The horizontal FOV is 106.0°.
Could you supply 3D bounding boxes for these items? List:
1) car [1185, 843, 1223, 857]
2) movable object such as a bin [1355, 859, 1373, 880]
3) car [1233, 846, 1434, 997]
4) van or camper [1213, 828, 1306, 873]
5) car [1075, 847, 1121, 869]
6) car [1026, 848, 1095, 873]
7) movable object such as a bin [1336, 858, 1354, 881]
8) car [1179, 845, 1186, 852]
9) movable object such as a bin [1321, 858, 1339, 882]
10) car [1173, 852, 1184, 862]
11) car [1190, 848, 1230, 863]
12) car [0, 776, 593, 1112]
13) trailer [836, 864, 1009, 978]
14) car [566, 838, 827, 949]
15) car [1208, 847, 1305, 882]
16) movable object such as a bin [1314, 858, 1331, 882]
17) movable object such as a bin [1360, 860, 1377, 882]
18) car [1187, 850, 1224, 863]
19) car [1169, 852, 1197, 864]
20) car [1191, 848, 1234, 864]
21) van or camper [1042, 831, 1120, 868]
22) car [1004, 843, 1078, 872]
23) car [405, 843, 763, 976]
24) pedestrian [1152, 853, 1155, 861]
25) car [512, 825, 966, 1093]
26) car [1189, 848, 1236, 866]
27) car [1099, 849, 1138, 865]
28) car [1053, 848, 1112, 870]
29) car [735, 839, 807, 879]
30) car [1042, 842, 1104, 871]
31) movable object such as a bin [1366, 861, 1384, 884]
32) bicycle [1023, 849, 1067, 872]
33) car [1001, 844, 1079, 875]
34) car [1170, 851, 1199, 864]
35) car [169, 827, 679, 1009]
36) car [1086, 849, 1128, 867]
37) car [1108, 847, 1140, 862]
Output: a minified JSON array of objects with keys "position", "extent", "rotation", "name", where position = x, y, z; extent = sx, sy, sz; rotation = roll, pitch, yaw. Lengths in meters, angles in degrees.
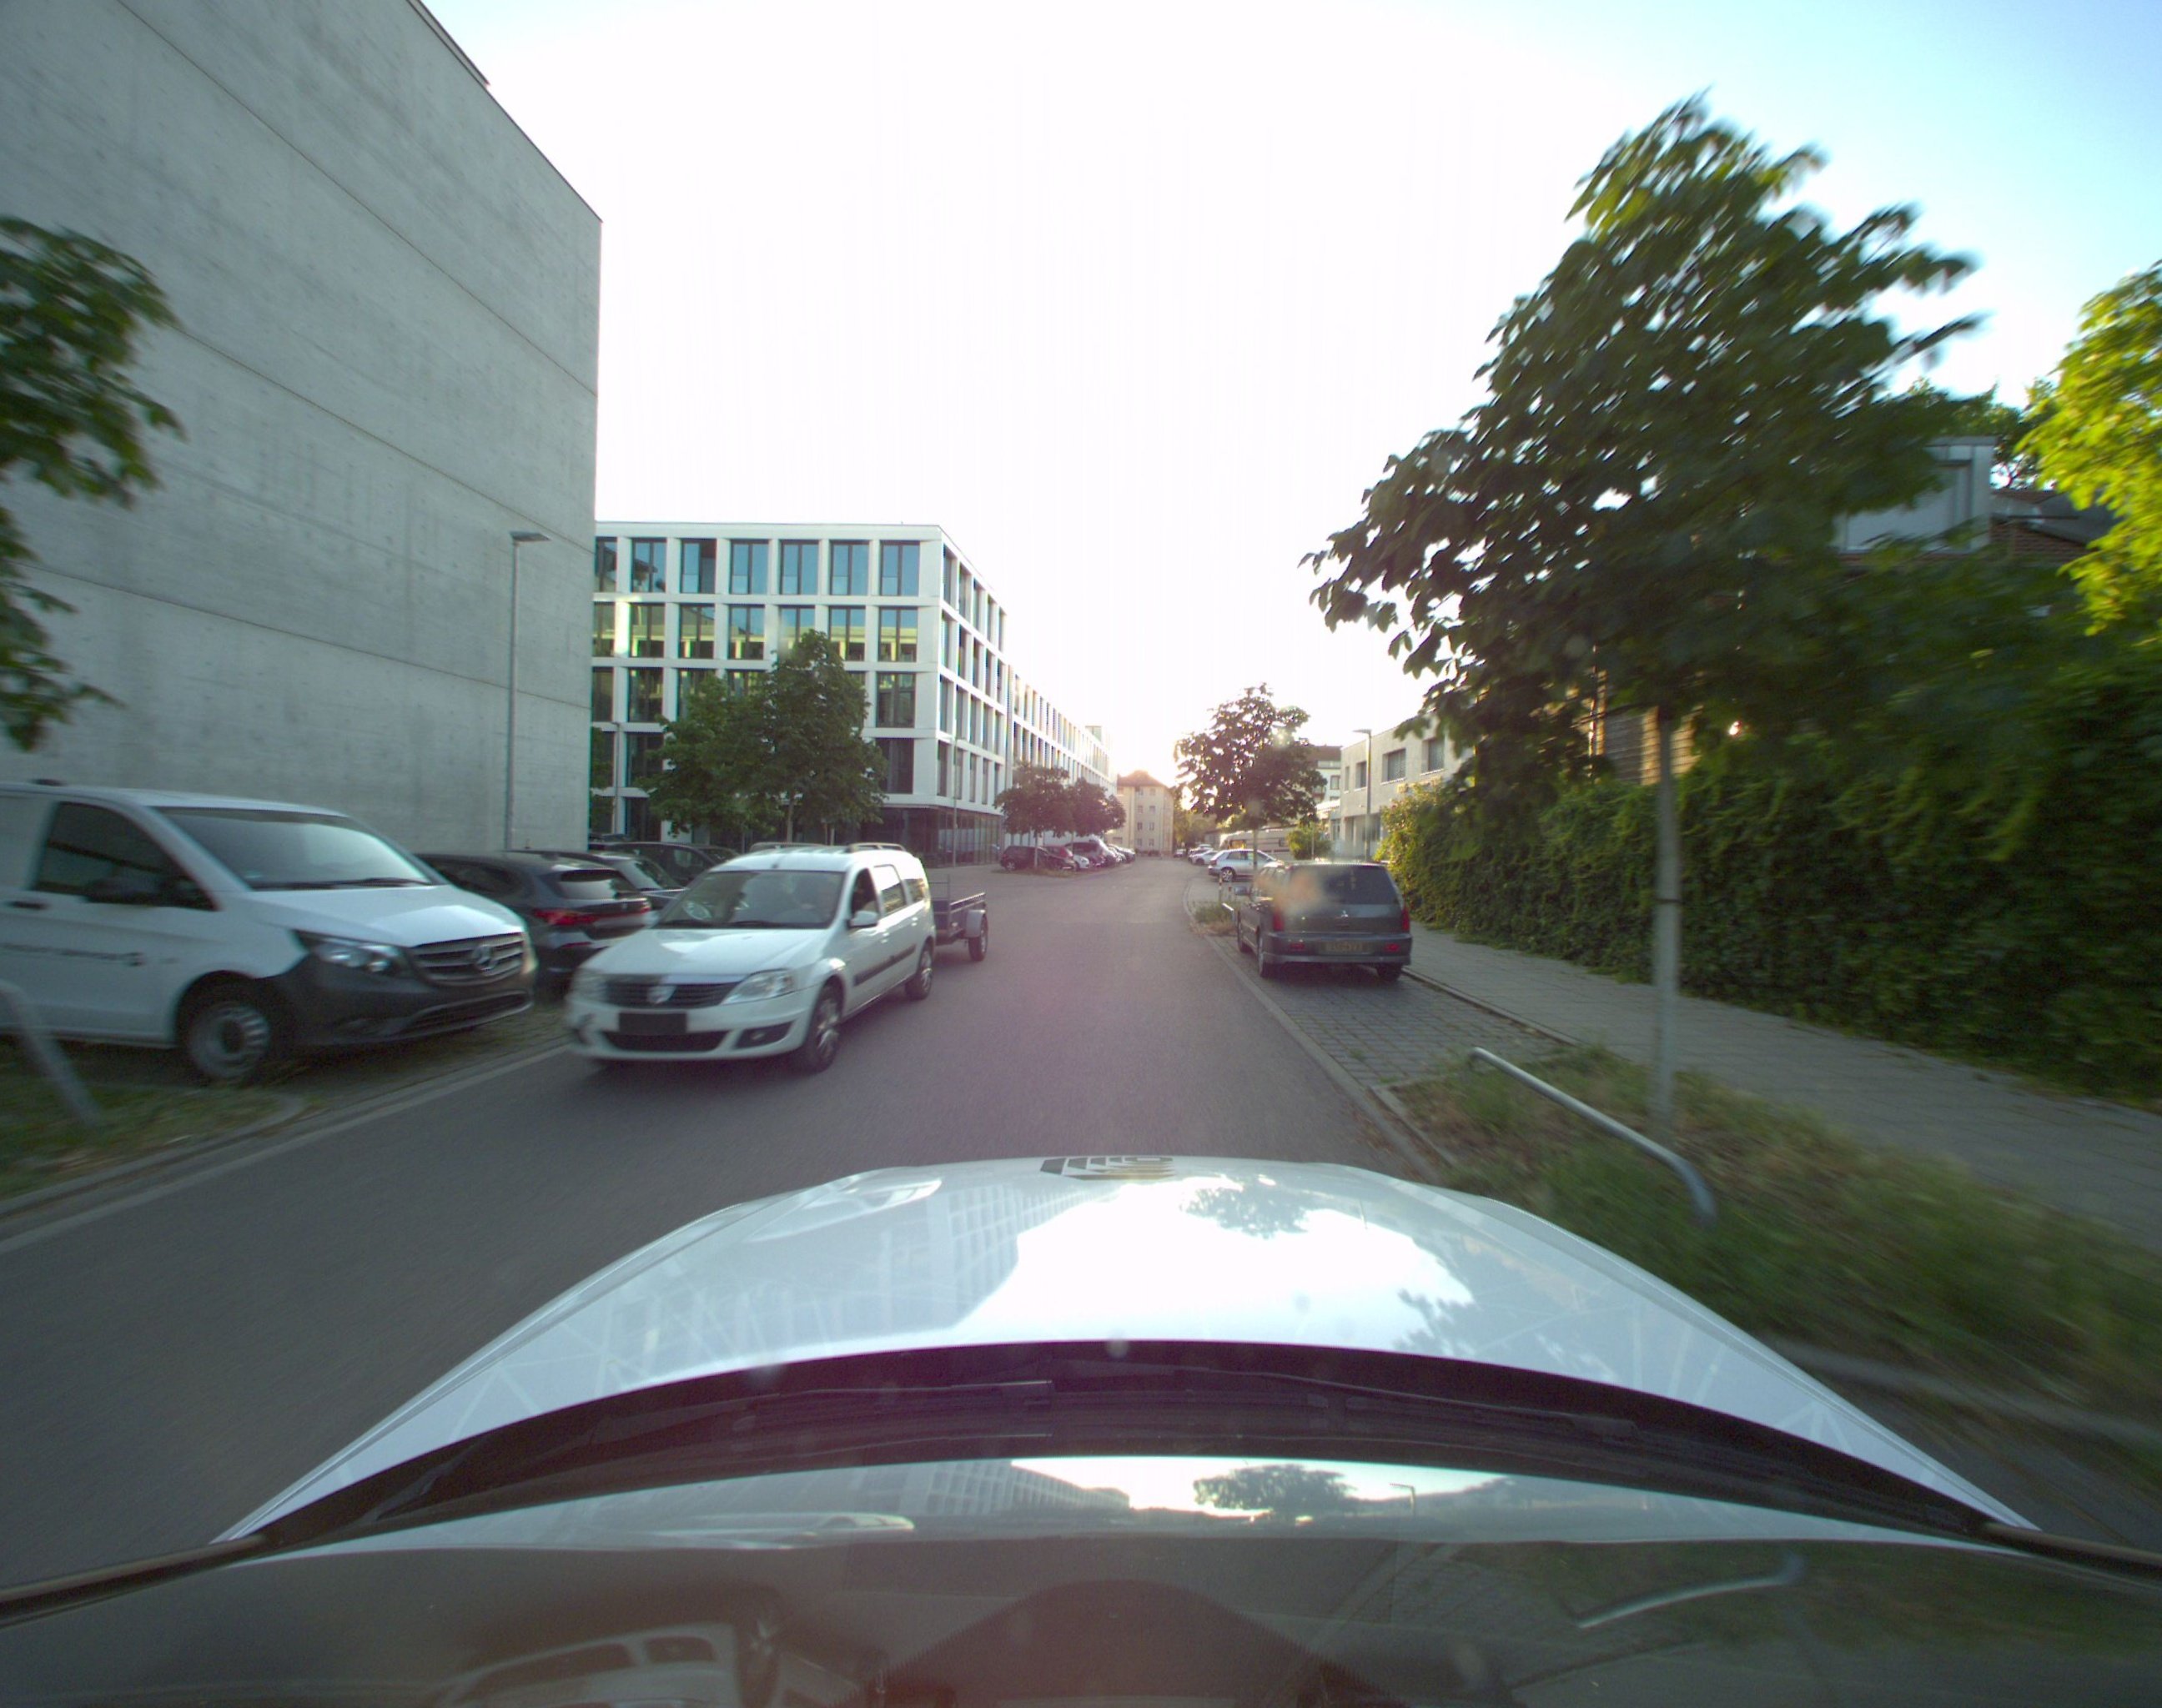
[{"position":[14.539,-0.496,96.743],"extent":[4.323,1.644,1.818],"rotation":[-1,1,3],"name":"car"},{"position":[13.040,0.702,37.532],"extent":[0.576,0.958,0.689],"rotation":[1,1,3],"name":"movable object such as a bin"},{"position":[3.099,0.700,10.937],"extent":[1.715,1.580,4.606],"rotation":[0,0,6],"name":"car"},{"position":[11.459,-0.259,52.703],"extent":[5.584,2.789,2.433],"rotation":[-1,1,4],"name":"van or camper"},{"position":[1.365,0.303,64.899],"extent":[3.539,1.652,1.461],"rotation":[0,1,8],"name":"car"},{"position":[-1.247,0.414,50.359],"extent":[4.026,1.479,1.772],"rotation":[0,1,8],"name":"car"},{"position":[11.441,0.657,35.253],"extent":[0.576,0.958,0.689],"rotation":[1,1,3],"name":"movable object such as a bin"},{"position":[23.338,-1.191,187.471],"extent":[1.733,1.525,3.558],"rotation":[1,0,7],"name":"car"},{"position":[10.673,0.671,34.971],"extent":[0.576,1.010,0.689],"rotation":[1,1,3],"name":"movable object such as a bin"},{"position":[17.274,0.504,144.055],"extent":[1.940,1.585,3.648],"rotation":[1,0,7],"name":"car"},{"position":[13.584,0.168,85.852],"extent":[4.032,1.479,1.769],"rotation":[-1,1,3],"name":"car"},{"position":[-6.776,0.485,6.032],"extent":[5.058,1.946,1.889],"rotation":[3,0,0],"name":"car"},{"position":[-2.163,0.861,12.031],"extent":[1.698,1.349,3.490],"rotation":[0,0,3],"name":"trailer"},{"position":[-6.489,0.627,13.954],"extent":[3.616,1.577,1.664],"rotation":[3,0,6],"name":"car"},{"position":[7.828,0.464,36.581],"extent":[4.032,1.479,1.769],"rotation":[0,1,3],"name":"car"},{"position":[10.589,0.709,35.700],"extent":[0.576,1.010,0.689],"rotation":[1,1,3],"name":"movable object such as a bin"},{"position":[12.980,0.775,36.768],"extent":[0.576,0.958,0.689],"rotation":[1,1,3],"name":"movable object such as a bin"},{"position":[14.175,0.288,93.011],"extent":[4.032,1.479,1.769],"rotation":[-1,1,3],"name":"car"},{"position":[14.590,0.553,116.496],"extent":[3.889,1.644,1.712],"rotation":[-1,1,3],"name":"car"},{"position":[13.012,0.220,80.673],"extent":[4.032,1.479,1.769],"rotation":[-1,1,3],"name":"car"},{"position":[0.011,-0.366,60.239],"extent":[5.421,2.483,1.780],"rotation":[3,1,8],"name":"van or camper"},{"position":[-2.315,0.197,47.955],"extent":[4.027,1.479,1.772],"rotation":[3,0,8],"name":"car"},{"position":[-6.700,0.697,11.258],"extent":[3.871,1.488,1.652],"rotation":[3,0,2],"name":"car"},{"position":[12.558,0.533,141.828],"extent":[0.498,1.379,0.455],"rotation":[1,0,6],"name":"pedestrian"},{"position":[-2.517,0.696,7.538],"extent":[1.944,1.686,4.726],"rotation":[0,-1,4],"name":"car"},{"position":[11.765,0.259,72.937],"extent":[4.027,1.479,1.772],"rotation":[0,1,8],"name":"car"},{"position":[3.595,0.303,78.283],"extent":[3.539,1.479,1.461],"rotation":[0,1,8],"name":"car"},{"position":[0.148,0.343,57.758],"extent":[4.031,1.524,1.738],"rotation":[0,1,4],"name":"car"},{"position":[-13.503,0.174,35.665],"extent":[1.716,1.485,3.553],"rotation":[1,3,1],"name":"car"},{"position":[-0.516,0.158,55.274],"extent":[4.031,1.908,1.738],"rotation":[0,1,4],"name":"car"},{"position":[12.893,0.796,35.752],"extent":[0.576,0.958,0.689],"rotation":[1,1,3],"name":"movable object such as a bin"},{"position":[-1.902,0.330,42.972],"extent":[2.166,1.174,0.813],"rotation":[1,0,7],"name":"bicycle"},{"position":[-2.251,0.286,45.043],"extent":[4.030,1.478,1.771],"rotation":[3,2,5],"name":"car"},{"position":[13.992,0.518,110.014],"extent":[3.770,1.644,1.698],"rotation":[-1,1,3],"name":"car"},{"position":[-6.708,0.617,8.635],"extent":[3.974,1.522,1.605],"rotation":[3,0,0],"name":"car"},{"position":[2.308,0.366,72.554],"extent":[3.539,1.479,1.461],"rotation":[0,1,8],"name":"car"},{"position":[4.237,0.066,80.699],"extent":[2.997,1.421,1.461],"rotation":[0,1,8],"name":"car"}]
